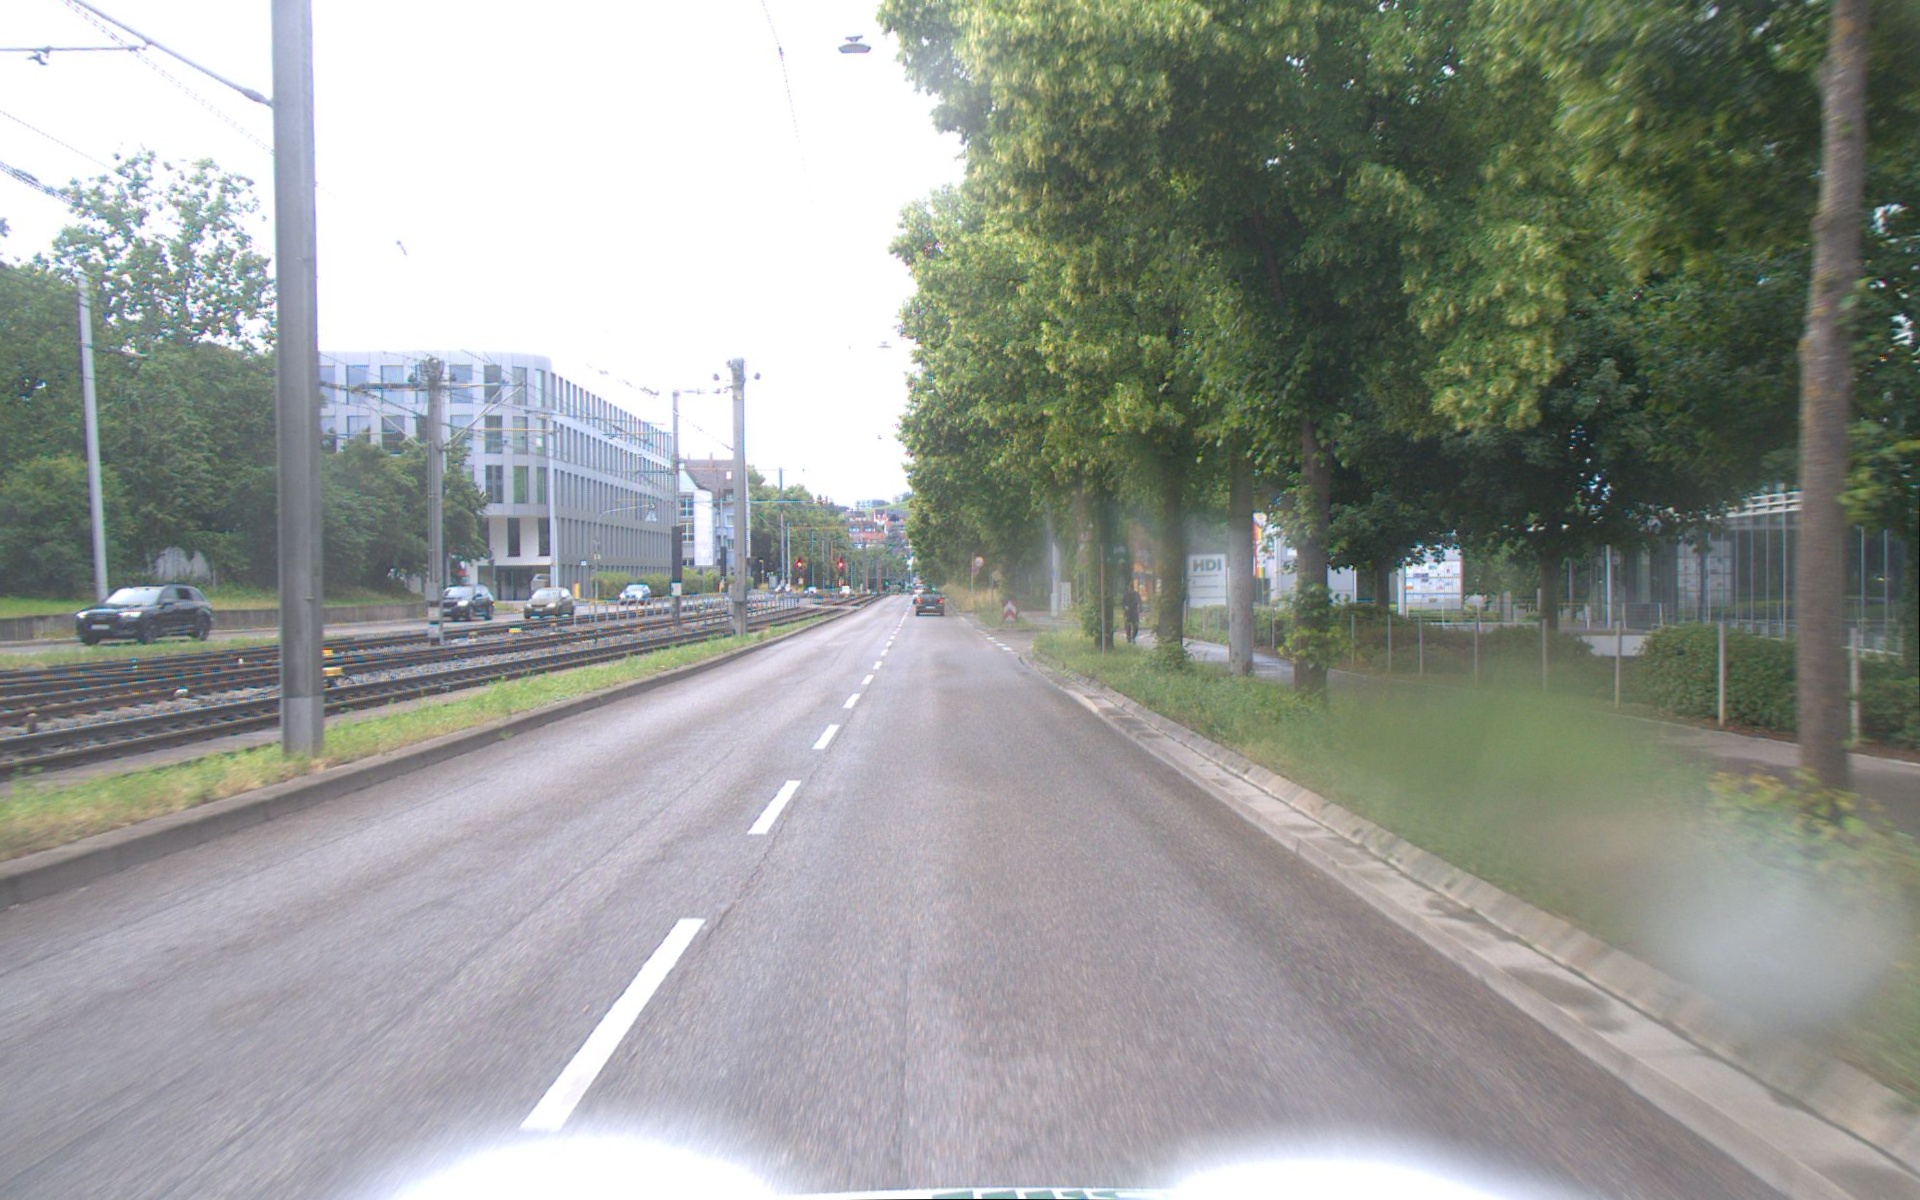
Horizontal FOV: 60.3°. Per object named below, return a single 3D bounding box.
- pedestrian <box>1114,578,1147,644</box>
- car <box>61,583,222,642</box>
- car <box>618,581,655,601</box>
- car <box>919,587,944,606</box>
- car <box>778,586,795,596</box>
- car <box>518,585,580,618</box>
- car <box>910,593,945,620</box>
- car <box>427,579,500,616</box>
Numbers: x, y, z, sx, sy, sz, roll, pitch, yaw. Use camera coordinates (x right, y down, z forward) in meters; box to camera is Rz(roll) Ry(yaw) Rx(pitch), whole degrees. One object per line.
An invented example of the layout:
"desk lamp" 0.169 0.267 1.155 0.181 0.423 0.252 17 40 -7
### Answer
"pedestrian" 4.796 0.302 46.450 0.809 1.828 0.867 1 0 -1
"car" -24.019 0.331 48.799 2.046 1.616 5.160 -1 1 2
"car" -22.717 -0.639 116.354 1.724 1.422 3.901 -1 1 1
"car" -2.284 -0.291 131.441 1.942 1.466 4.473 -1 1 -1
"car" -21.783 -1.172 207.418 1.721 1.265 3.987 -1 1 -1
"car" -20.117 0.049 81.099 1.852 1.512 4.309 -1 1 1
"car" -1.870 0.333 95.530 1.942 1.466 4.473 -1 1 -1
"car" -22.878 -0.137 76.338 1.908 1.623 4.847 -1 1 0
